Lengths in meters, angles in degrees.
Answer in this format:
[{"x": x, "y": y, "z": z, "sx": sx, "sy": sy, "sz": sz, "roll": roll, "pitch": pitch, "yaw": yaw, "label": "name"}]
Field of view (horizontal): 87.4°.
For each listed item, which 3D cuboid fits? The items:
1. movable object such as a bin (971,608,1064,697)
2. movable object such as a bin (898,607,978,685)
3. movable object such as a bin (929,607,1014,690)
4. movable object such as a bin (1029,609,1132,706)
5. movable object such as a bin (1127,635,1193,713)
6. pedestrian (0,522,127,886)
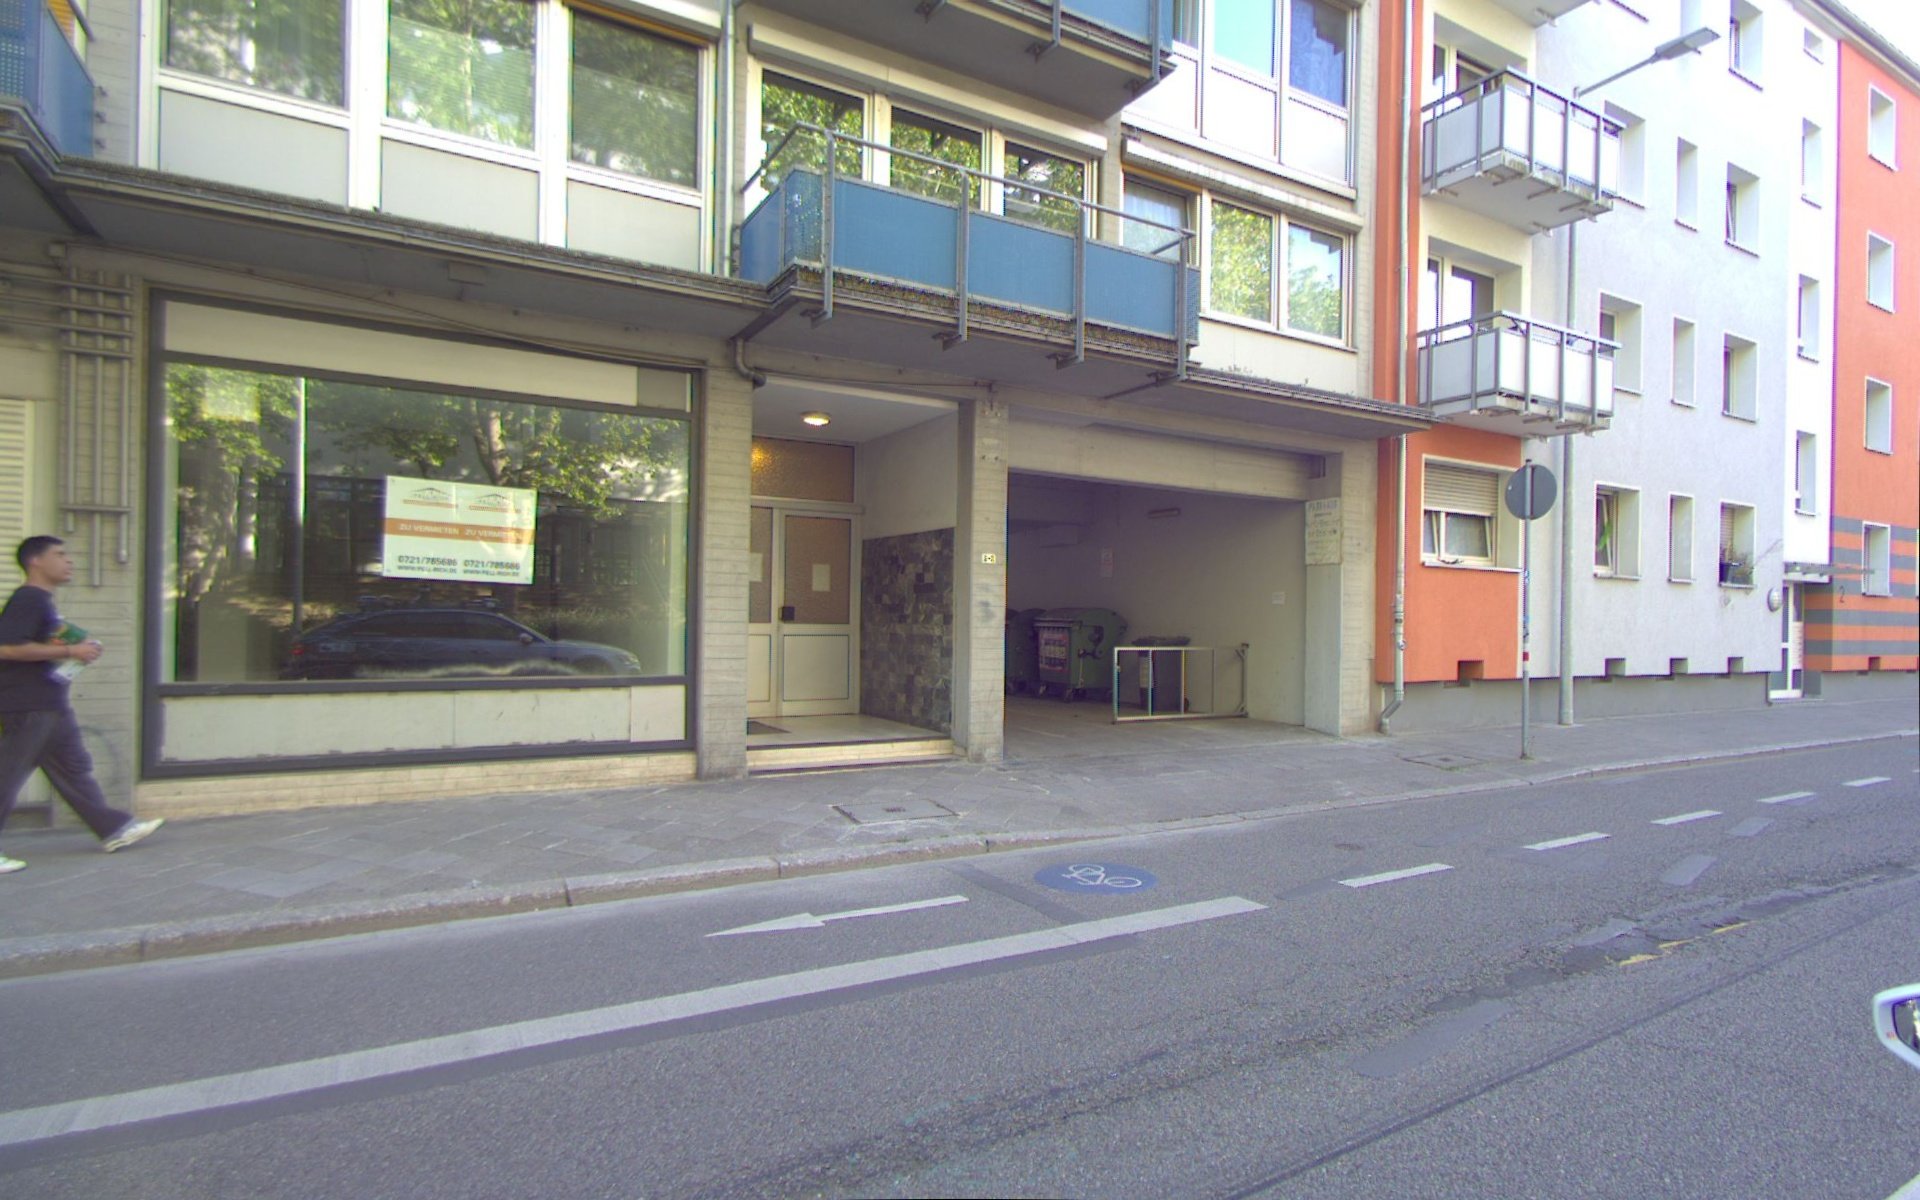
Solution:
[{"x": 0.972, "y": 0.864, "z": 17.168, "sx": 1.116, "sy": 1.444, "sz": 1.201, "roll": 1, "pitch": 0, "yaw": -30, "label": "movable object such as a bin"}, {"x": -0.446, "y": 0.877, "z": 19.615, "sx": 1.116, "sy": 1.444, "sz": 1.201, "roll": 1, "pitch": 0, "yaw": -30, "label": "movable object such as a bin"}, {"x": 0.202, "y": 0.871, "z": 18.466, "sx": 1.116, "sy": 1.444, "sz": 1.201, "roll": 1, "pitch": 0, "yaw": -30, "label": "movable object such as a bin"}, {"x": 1.884, "y": 0.870, "z": 15.809, "sx": 1.116, "sy": 1.444, "sz": 1.201, "roll": 1, "pitch": 0, "yaw": -30, "label": "movable object such as a bin"}, {"x": 2.881, "y": 1.052, "z": 14.499, "sx": 0.667, "sy": 1.079, "sz": 0.639, "roll": 1, "pitch": 0, "yaw": -30, "label": "movable object such as a bin"}, {"x": -4.926, "y": 0.510, "z": 5.224, "sx": 0.784, "sy": 1.795, "sz": 0.658, "roll": 1, "pitch": 0, "yaw": -30, "label": "pedestrian"}]
